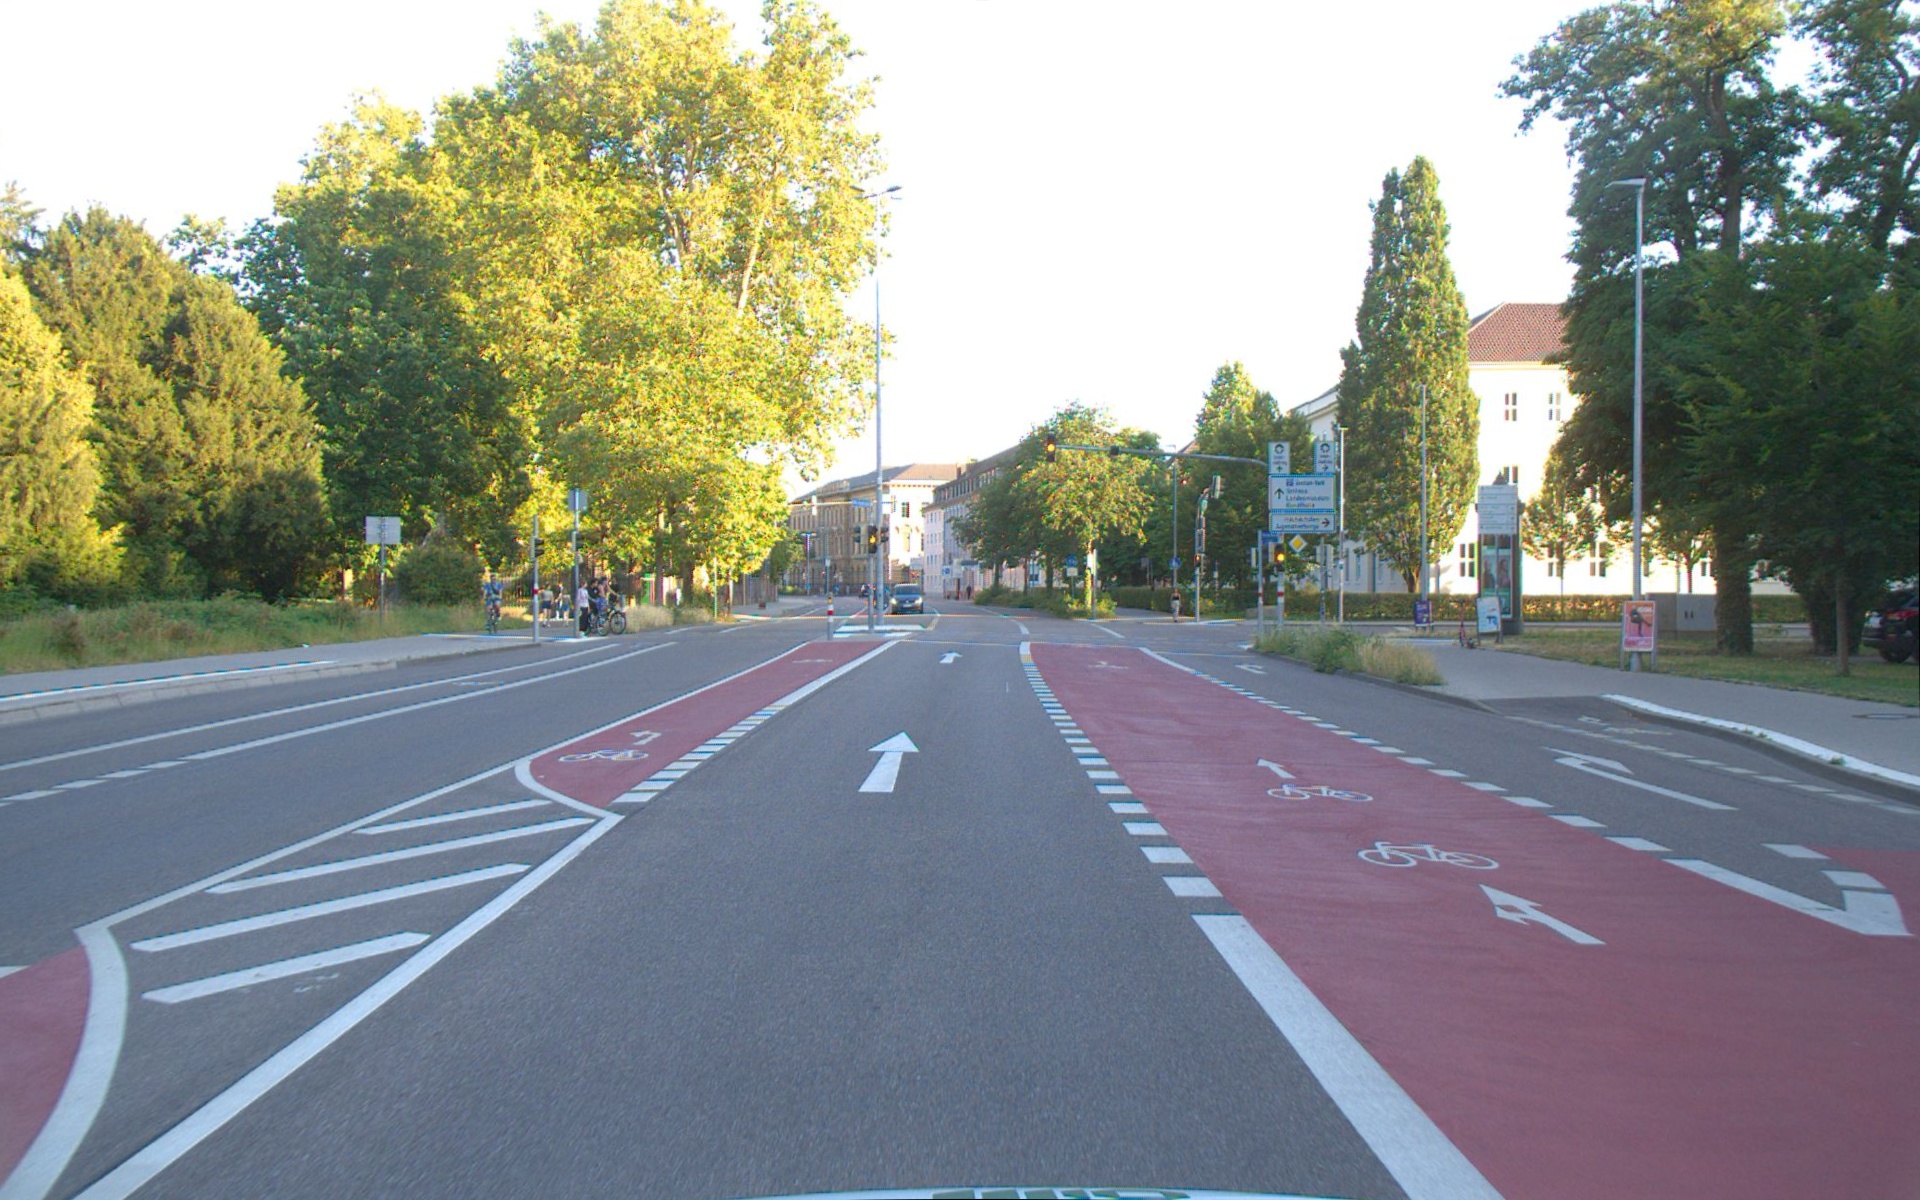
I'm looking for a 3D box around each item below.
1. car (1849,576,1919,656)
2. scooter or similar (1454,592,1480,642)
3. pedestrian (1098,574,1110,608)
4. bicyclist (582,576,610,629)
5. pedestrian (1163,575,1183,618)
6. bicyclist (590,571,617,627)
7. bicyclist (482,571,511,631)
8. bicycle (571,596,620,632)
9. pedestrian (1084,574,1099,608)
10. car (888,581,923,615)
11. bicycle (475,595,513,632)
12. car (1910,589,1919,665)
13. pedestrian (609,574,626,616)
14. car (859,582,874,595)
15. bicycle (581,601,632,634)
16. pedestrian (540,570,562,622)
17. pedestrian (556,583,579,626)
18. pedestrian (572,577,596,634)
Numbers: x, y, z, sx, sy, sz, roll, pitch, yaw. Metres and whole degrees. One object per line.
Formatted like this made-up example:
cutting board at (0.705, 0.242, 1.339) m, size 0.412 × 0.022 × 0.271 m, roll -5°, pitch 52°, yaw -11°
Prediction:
car at (22.083, 0.367, 36.616) m, size 3.815 × 1.724 × 1.838 m, roll 1°, pitch 0°, yaw 5°
scooter or similar at (12.942, 0.434, 42.252) m, size 0.304 × 1.252 × 1.311 m, roll 0°, pitch 0°, yaw 1°
pedestrian at (8.750, -0.550, 100.338) m, size 0.622 × 2.049 × 0.720 m, roll 1°, pitch 0°, yaw -2°
bicyclist at (-11.576, 0.067, 52.579) m, size 0.626 × 1.678 × 0.629 m, roll 0°, pitch 0°, yaw 32°
pedestrian at (10.343, -0.179, 80.217) m, size 0.785 × 2.048 × 0.963 m, roll 1°, pitch 1°, yaw -3°
bicyclist at (-11.672, -0.043, 54.156) m, size 0.626 × 1.811 × 0.575 m, roll 0°, pitch 0°, yaw 32°
bicyclist at (-14.489, 0.046, 51.727) m, size 0.720 × 1.856 × 0.712 m, roll -1°, pitch -1°, yaw -2°
bicycle at (-11.589, 0.440, 52.581) m, size 1.535 × 1.130 × 0.631 m, roll 0°, pitch 0°, yaw 33°
pedestrian at (7.938, -0.549, 99.791) m, size 0.852 × 2.049 × 0.722 m, roll 1°, pitch 0°, yaw 1°
car at (-3.001, -0.115, 91.853) m, size 1.812 × 1.750 × 4.295 m, roll -2°, pitch 0°, yaw -1°
bicycle at (-14.605, 0.400, 51.875) m, size 0.755 × 1.120 × 2.120 m, roll 0°, pitch 1°, yaw -4°
car at (21.745, 0.562, 33.544) m, size 3.902 × 1.588 × 1.787 m, roll 0°, pitch 0°, yaw 8°
pedestrian at (-16.535, -0.242, 79.828) m, size 0.626 × 2.049 × 0.701 m, roll 0°, pitch 0°, yaw 3°
car at (-11.190, -1.387, 197.863) m, size 1.783 × 1.616 × 3.997 m, roll -1°, pitch 1°, yaw -4°
bicycle at (-11.555, 0.554, 54.078) m, size 1.734 × 1.048 × 0.578 m, roll 0°, pitch 0°, yaw 33°
pedestrian at (-16.220, -0.153, 65.619) m, size 0.644 × 2.049 × 0.598 m, roll 1°, pitch 0°, yaw -37°
pedestrian at (-18.570, 0.207, 78.209) m, size 0.786 × 2.049 × 0.994 m, roll 1°, pitch 0°, yaw 1°
pedestrian at (-11.461, 0.156, 50.372) m, size 0.594 × 1.725 × 0.498 m, roll 0°, pitch 0°, yaw 2°
